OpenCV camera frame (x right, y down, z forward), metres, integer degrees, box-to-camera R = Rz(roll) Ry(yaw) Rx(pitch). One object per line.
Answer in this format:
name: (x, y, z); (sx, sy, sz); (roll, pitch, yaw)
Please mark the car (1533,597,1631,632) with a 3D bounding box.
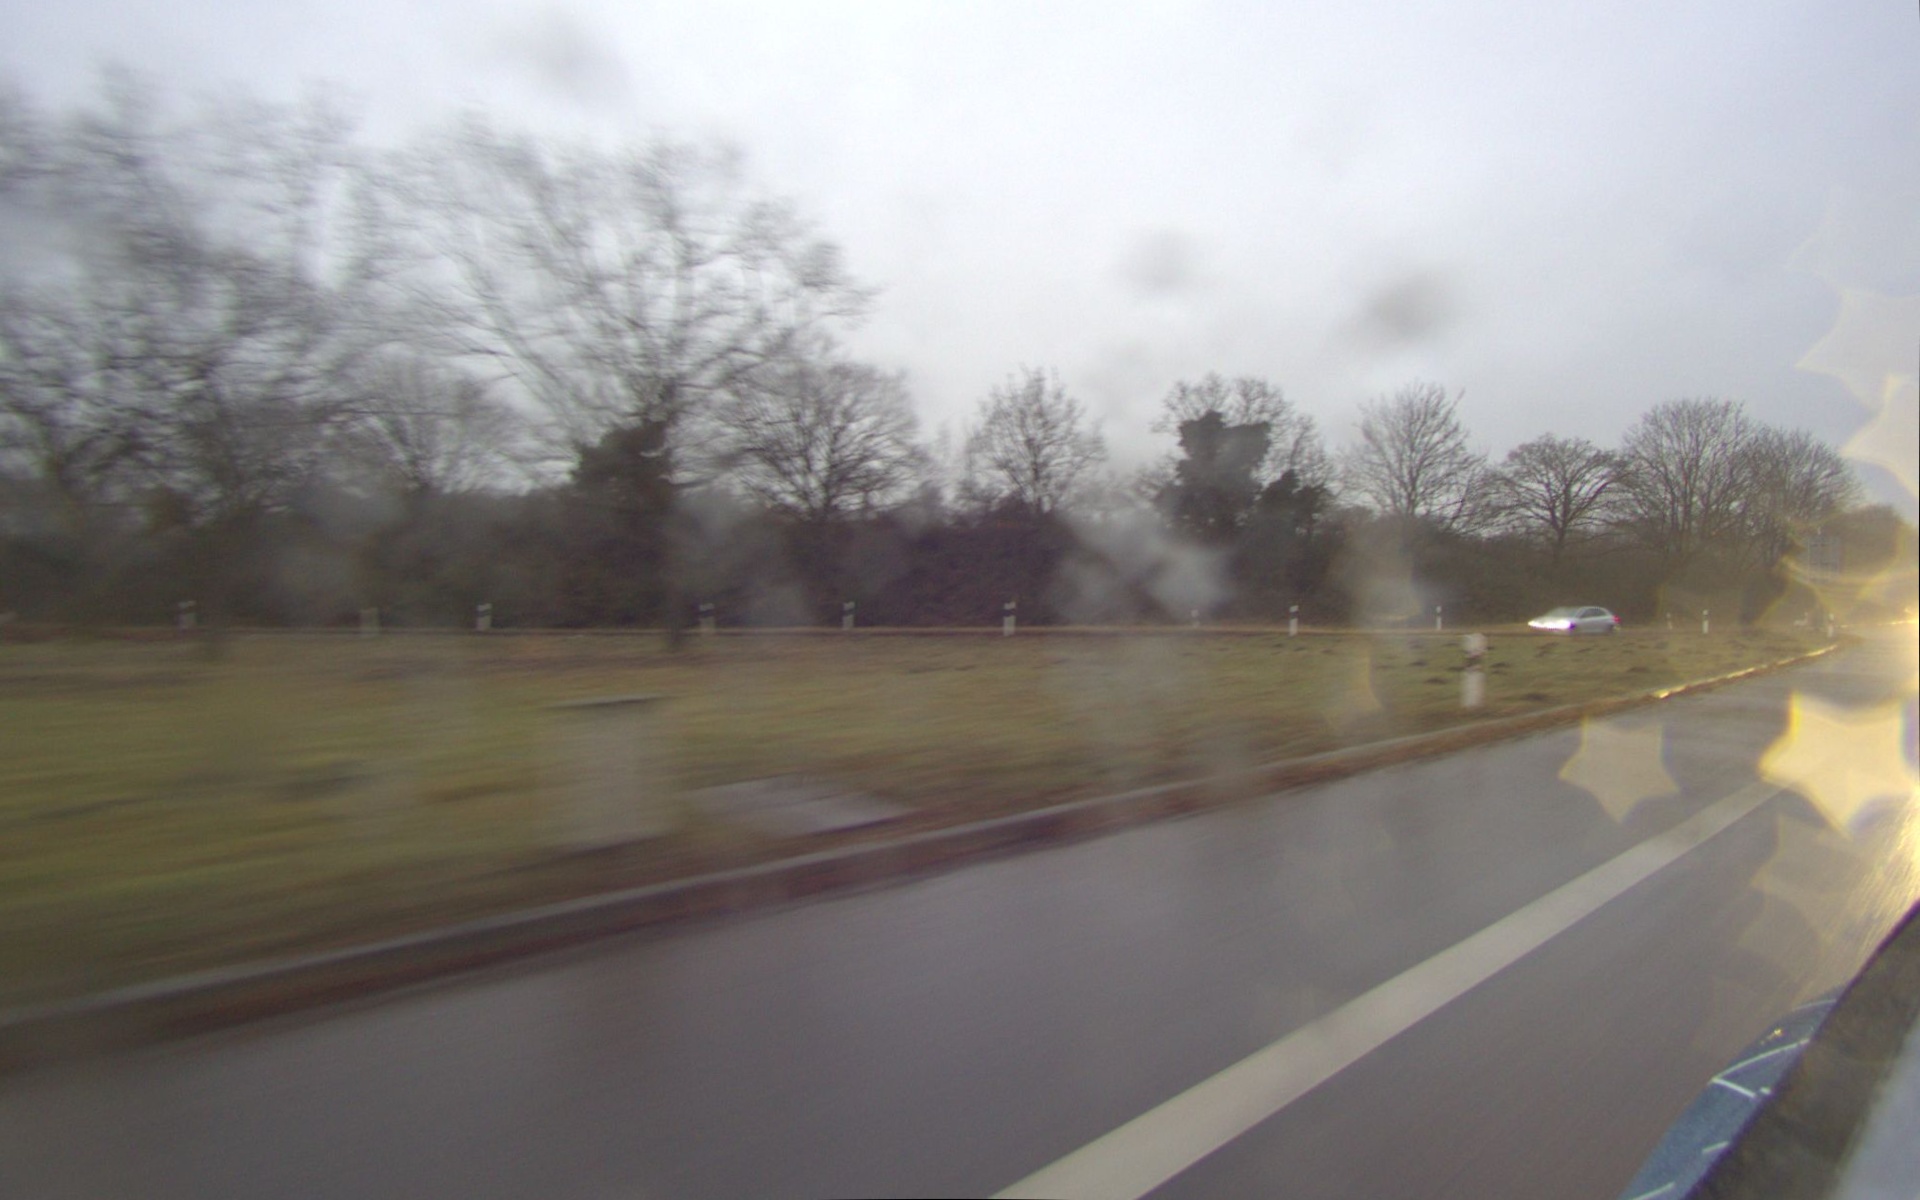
car: (27.451, 0.619, 44.699); (3.711, 1.452, 1.733); (0, 1, -19)
